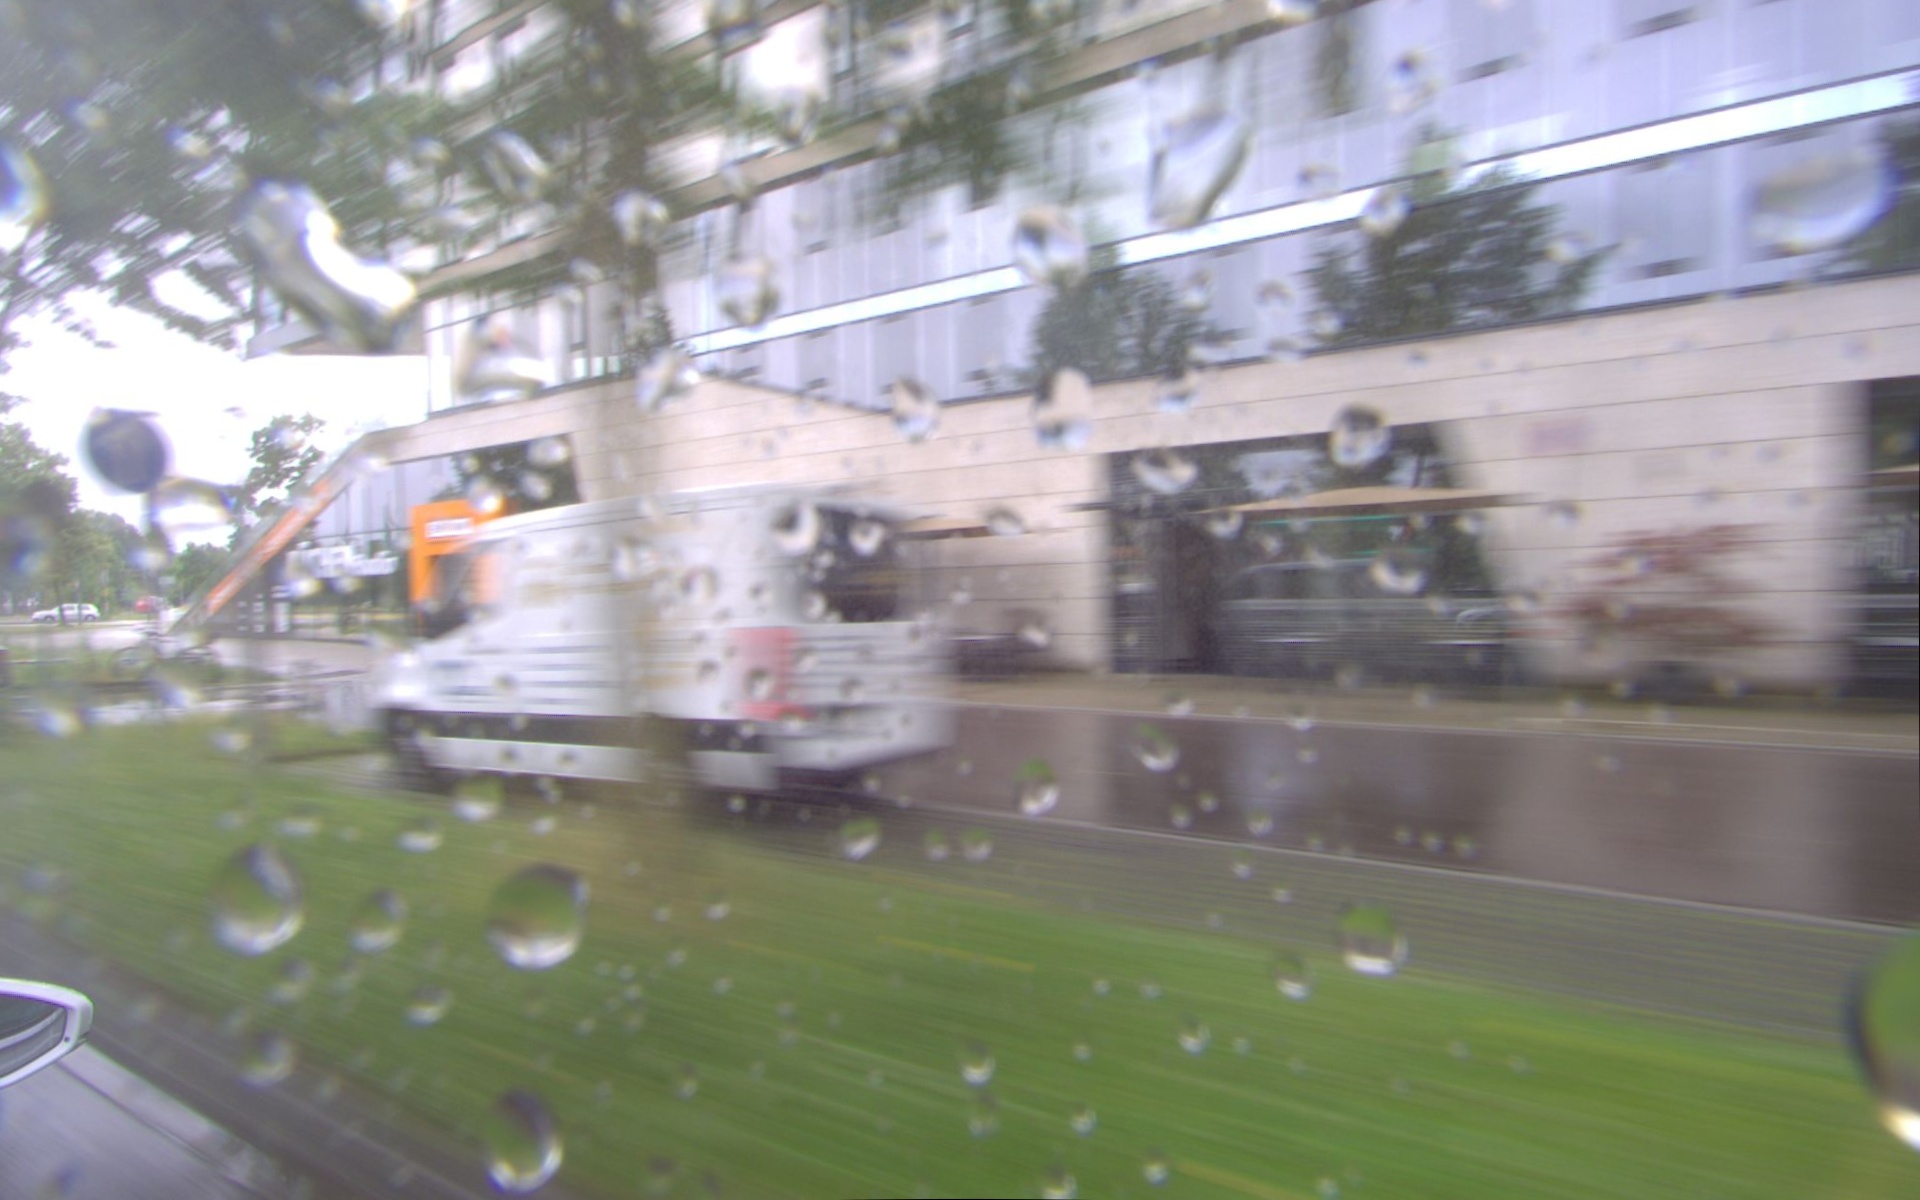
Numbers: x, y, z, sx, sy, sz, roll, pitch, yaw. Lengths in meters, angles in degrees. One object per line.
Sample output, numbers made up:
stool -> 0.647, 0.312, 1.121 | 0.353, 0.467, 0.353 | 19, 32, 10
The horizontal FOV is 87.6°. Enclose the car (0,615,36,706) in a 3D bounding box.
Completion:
car -> -17.456, 0.962, 15.531 | 4.263, 1.439, 1.831 | 0, 1, -9

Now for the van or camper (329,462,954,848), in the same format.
van or camper -> -2.846, 0.378, 8.345 | 5.383, 2.322, 2.021 | -1, 0, 33

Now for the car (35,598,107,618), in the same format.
car -> -70.594, 0.618, 79.556 | 1.600, 1.473, 3.966 | 0, 0, 32

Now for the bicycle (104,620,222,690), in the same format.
bicycle -> -16.296, 1.103, 20.530 | 1.822, 1.364, 0.529 | 1, 1, -31

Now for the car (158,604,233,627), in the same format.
car -> -66.126, 1.321, 86.722 | 1.968, 1.876, 4.757 | 0, 0, 27
